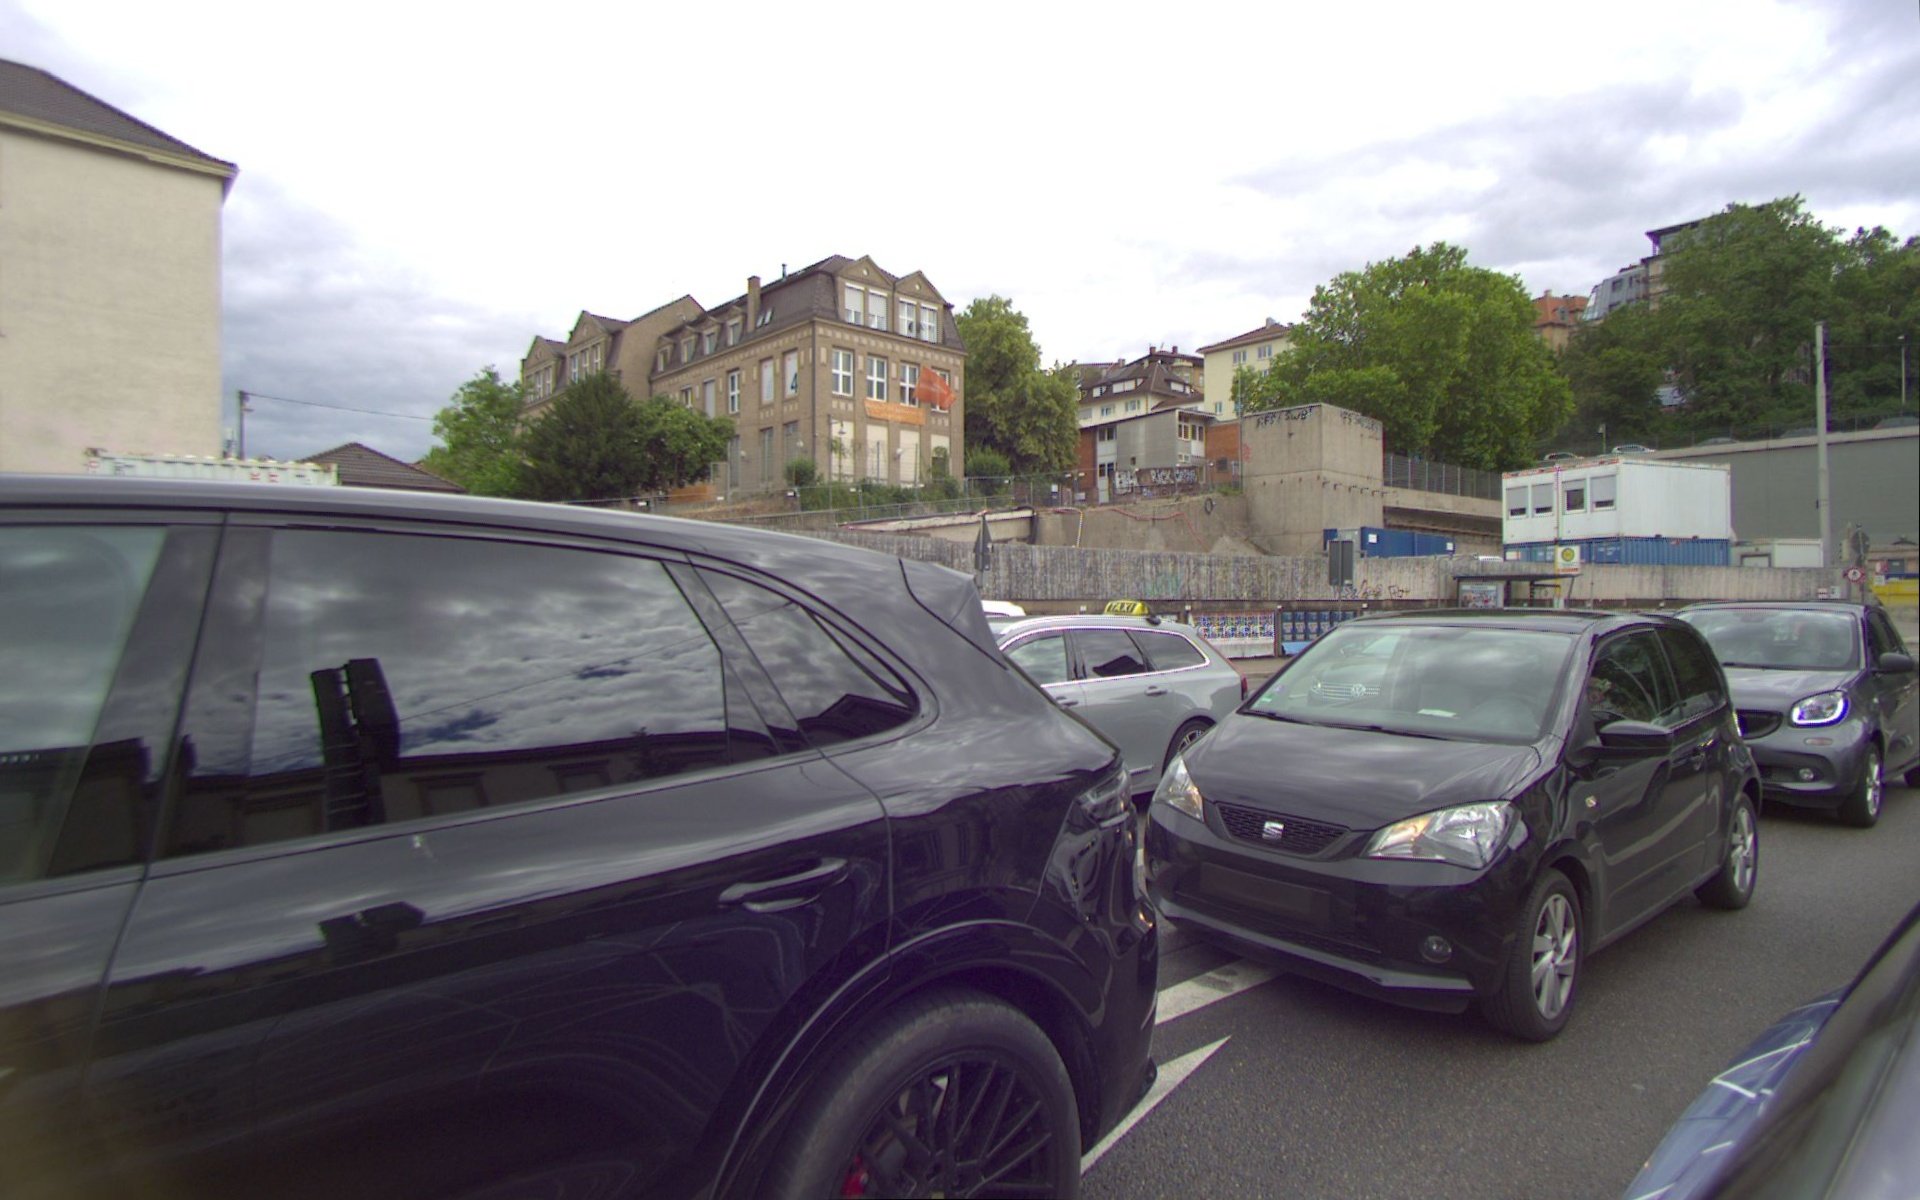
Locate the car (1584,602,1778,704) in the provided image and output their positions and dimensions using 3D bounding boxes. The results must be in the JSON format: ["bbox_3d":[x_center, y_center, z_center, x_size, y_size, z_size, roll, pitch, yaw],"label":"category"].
[{"bbox_3d":[11.497,0.749,16.060,3.740,1.383,1.679,-1,0,-41],"label":"car"}]

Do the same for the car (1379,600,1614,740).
[{"bbox_3d":[6.516,0.747,12.244,2.667,1.449,1.664,-1,0,-41],"label":"car"}]

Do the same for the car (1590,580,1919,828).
[{"bbox_3d":[6.699,0.662,8.190,3.511,1.563,1.720,0,0,-40],"label":"car"}]

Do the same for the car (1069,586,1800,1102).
[{"bbox_3d":[2.427,0.679,4.796,3.636,1.476,1.827,-1,0,-41],"label":"car"}]

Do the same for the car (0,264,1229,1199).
[{"bbox_3d":[-1.631,0.535,1.604,4.406,1.737,1.827,-1,0,-41],"label":"car"}]

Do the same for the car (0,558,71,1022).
[{"bbox_3d":[-5.313,0.688,3.043,3.930,1.645,1.679,-1,0,-41],"label":"car"}]

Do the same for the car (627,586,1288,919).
[{"bbox_3d":[0.260,0.731,7.266,4.725,1.645,1.827,-1,0,-41],"label":"car"}]

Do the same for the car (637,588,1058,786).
[{"bbox_3d":[-1.017,0.708,10.482,4.136,1.645,1.679,-1,0,-41],"label":"car"}]
